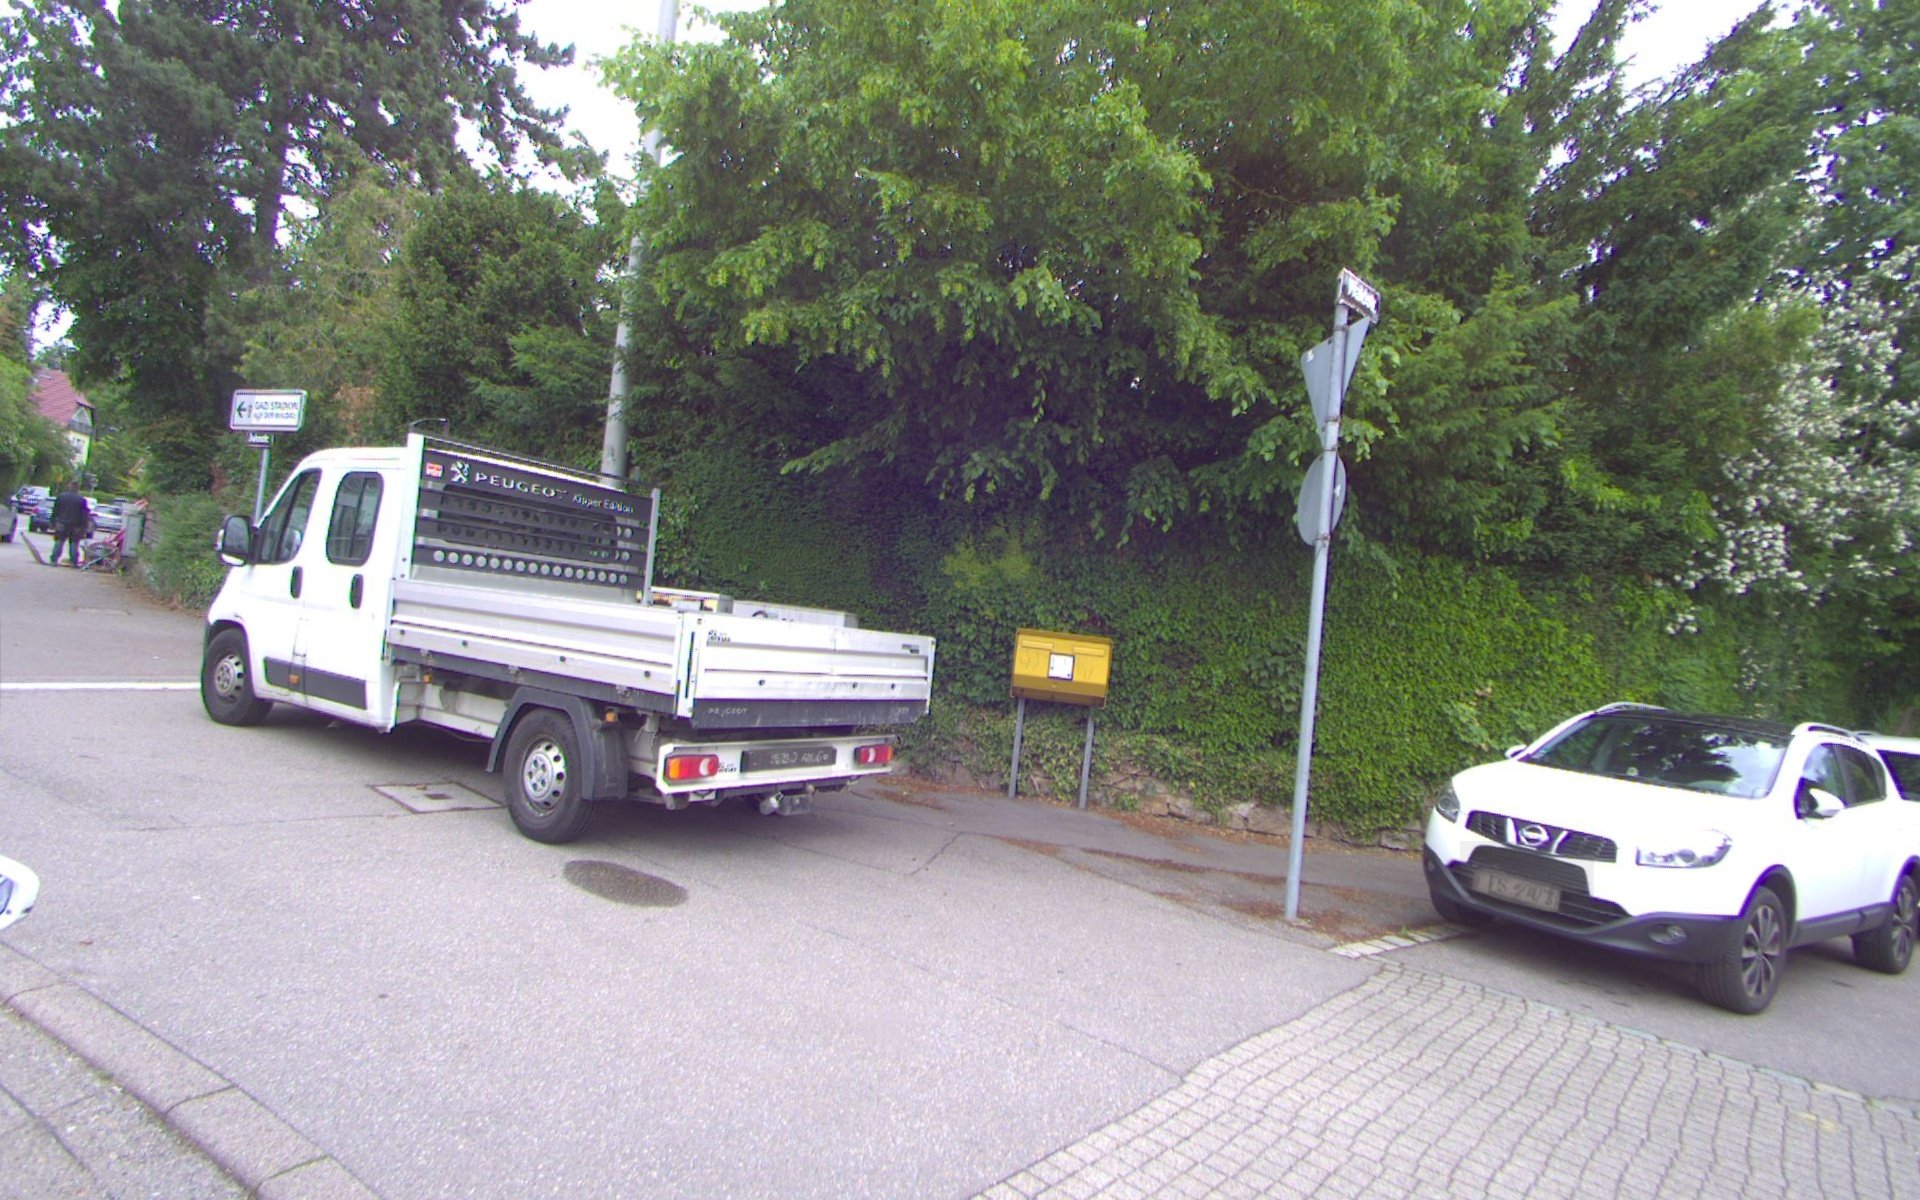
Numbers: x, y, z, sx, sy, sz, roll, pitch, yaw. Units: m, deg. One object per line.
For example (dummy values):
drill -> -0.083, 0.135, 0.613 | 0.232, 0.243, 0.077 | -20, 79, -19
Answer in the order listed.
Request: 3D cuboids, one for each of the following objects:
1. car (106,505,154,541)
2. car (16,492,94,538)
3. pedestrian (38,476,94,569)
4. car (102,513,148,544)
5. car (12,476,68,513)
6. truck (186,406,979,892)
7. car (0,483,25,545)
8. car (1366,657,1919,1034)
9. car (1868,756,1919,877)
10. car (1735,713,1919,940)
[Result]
car -> -54.202, -5.026, 65.760 | 1.910, 1.915, 4.859 | 10, -2, -36
car -> -37.545, -3.500, 41.829 | 1.790, 1.545, 4.697 | 7, 0, -36
pedestrian -> -19.614, -1.687, 22.071 | 0.549, 1.929, 0.597 | 7, -1, 32
car -> -46.255, -3.959, 55.769 | 1.685, 1.448, 3.710 | 7, 0, -37
car -> -58.591, -6.658, 64.154 | 1.901, 1.903, 5.092 | 6, -1, -36
truck -> -2.933, 0.081, 7.158 | 5.631, 2.270, 2.211 | 6, -2, 34
car -> -28.912, -2.626, 29.224 | 1.796, 1.775, 4.445 | 7, 0, -34
car -> 4.767, 1.465, 6.651 | 4.098, 1.641, 1.783 | 9, -2, -34
car -> 13.902, 3.007, 13.544 | 4.040, 1.440, 1.781 | 8, -2, -38
car -> 9.047, 2.111, 9.464 | 4.041, 1.641, 1.781 | 9, -3, -38
